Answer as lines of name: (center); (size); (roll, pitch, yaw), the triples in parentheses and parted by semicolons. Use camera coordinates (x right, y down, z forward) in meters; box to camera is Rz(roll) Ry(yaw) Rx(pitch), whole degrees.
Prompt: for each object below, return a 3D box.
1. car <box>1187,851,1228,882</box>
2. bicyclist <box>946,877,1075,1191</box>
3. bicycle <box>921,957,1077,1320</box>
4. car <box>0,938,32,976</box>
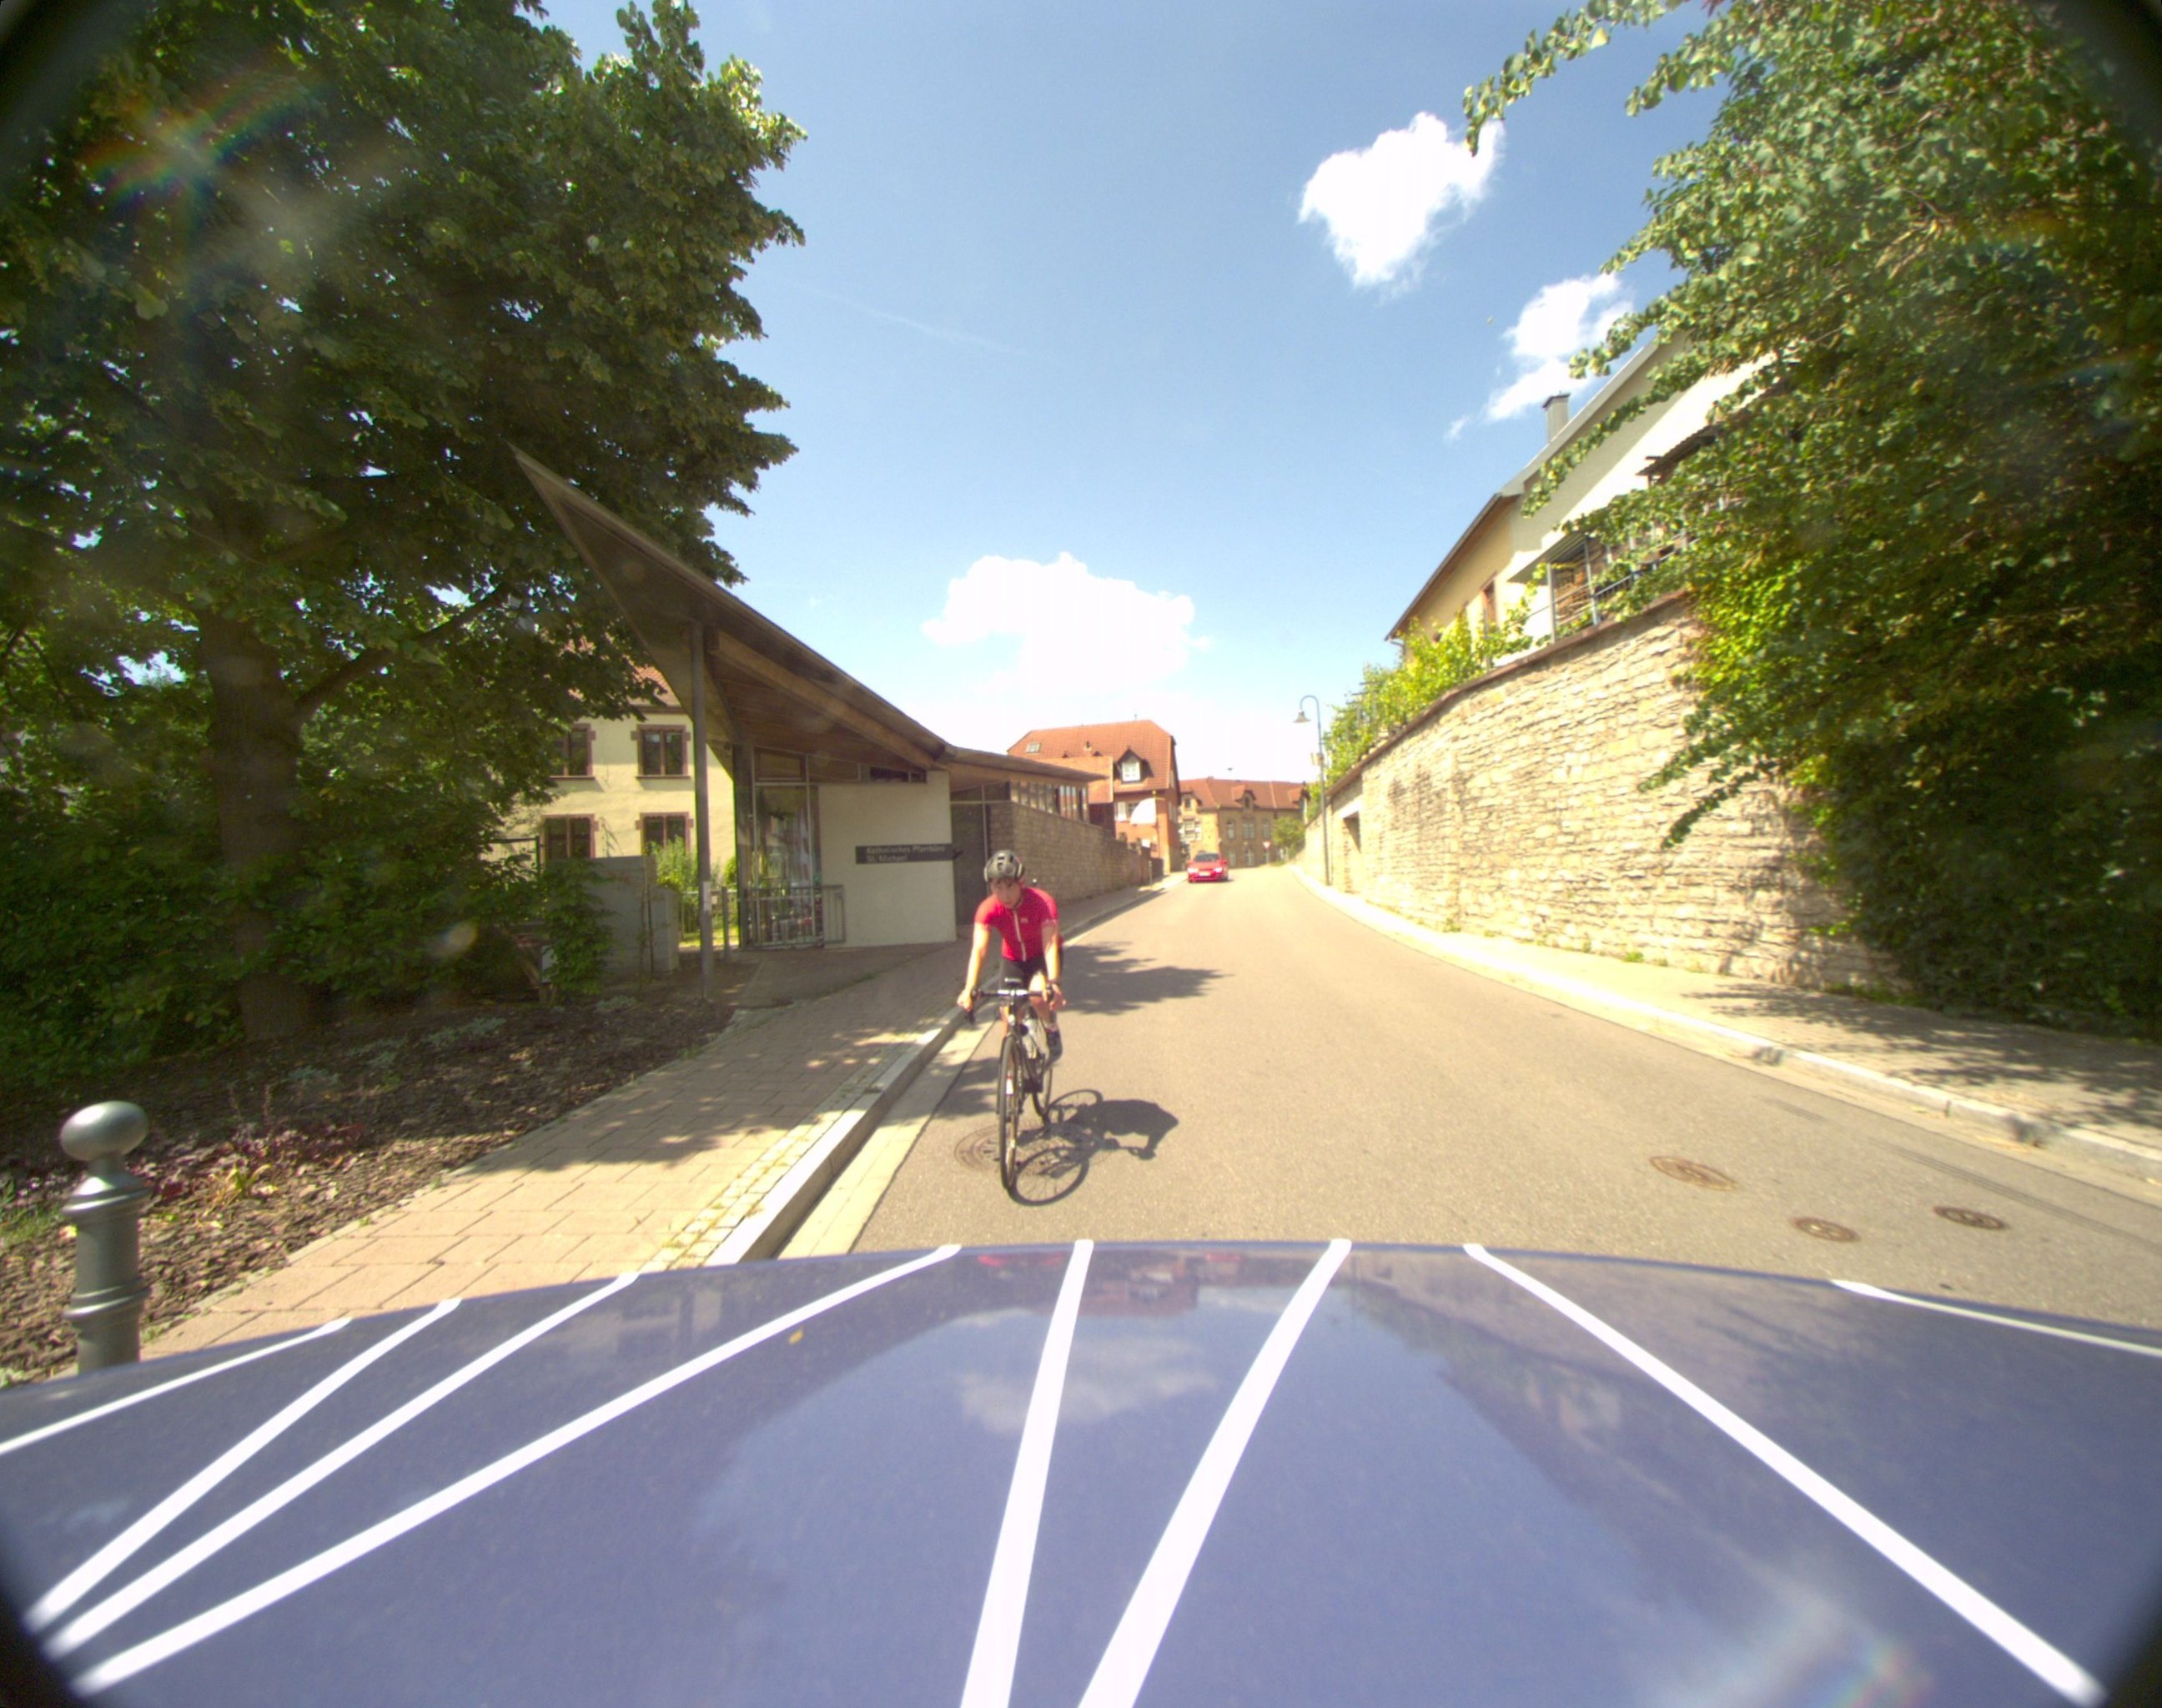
car: (6.111, 0.571, 36.484); (1.668, 1.344, 3.497); (-2, 1, 14)
bicyclist: (-0.325, 0.840, 3.860); (0.532, 1.396, 0.755); (-2, 1, 0)
bicycle: (-0.314, 1.217, 3.899); (0.531, 1.070, 2.054); (-2, 1, 0)
car: (-46.009, 4.390, 31.330); (1.673, 1.495, 3.803); (-3, -1, -28)
